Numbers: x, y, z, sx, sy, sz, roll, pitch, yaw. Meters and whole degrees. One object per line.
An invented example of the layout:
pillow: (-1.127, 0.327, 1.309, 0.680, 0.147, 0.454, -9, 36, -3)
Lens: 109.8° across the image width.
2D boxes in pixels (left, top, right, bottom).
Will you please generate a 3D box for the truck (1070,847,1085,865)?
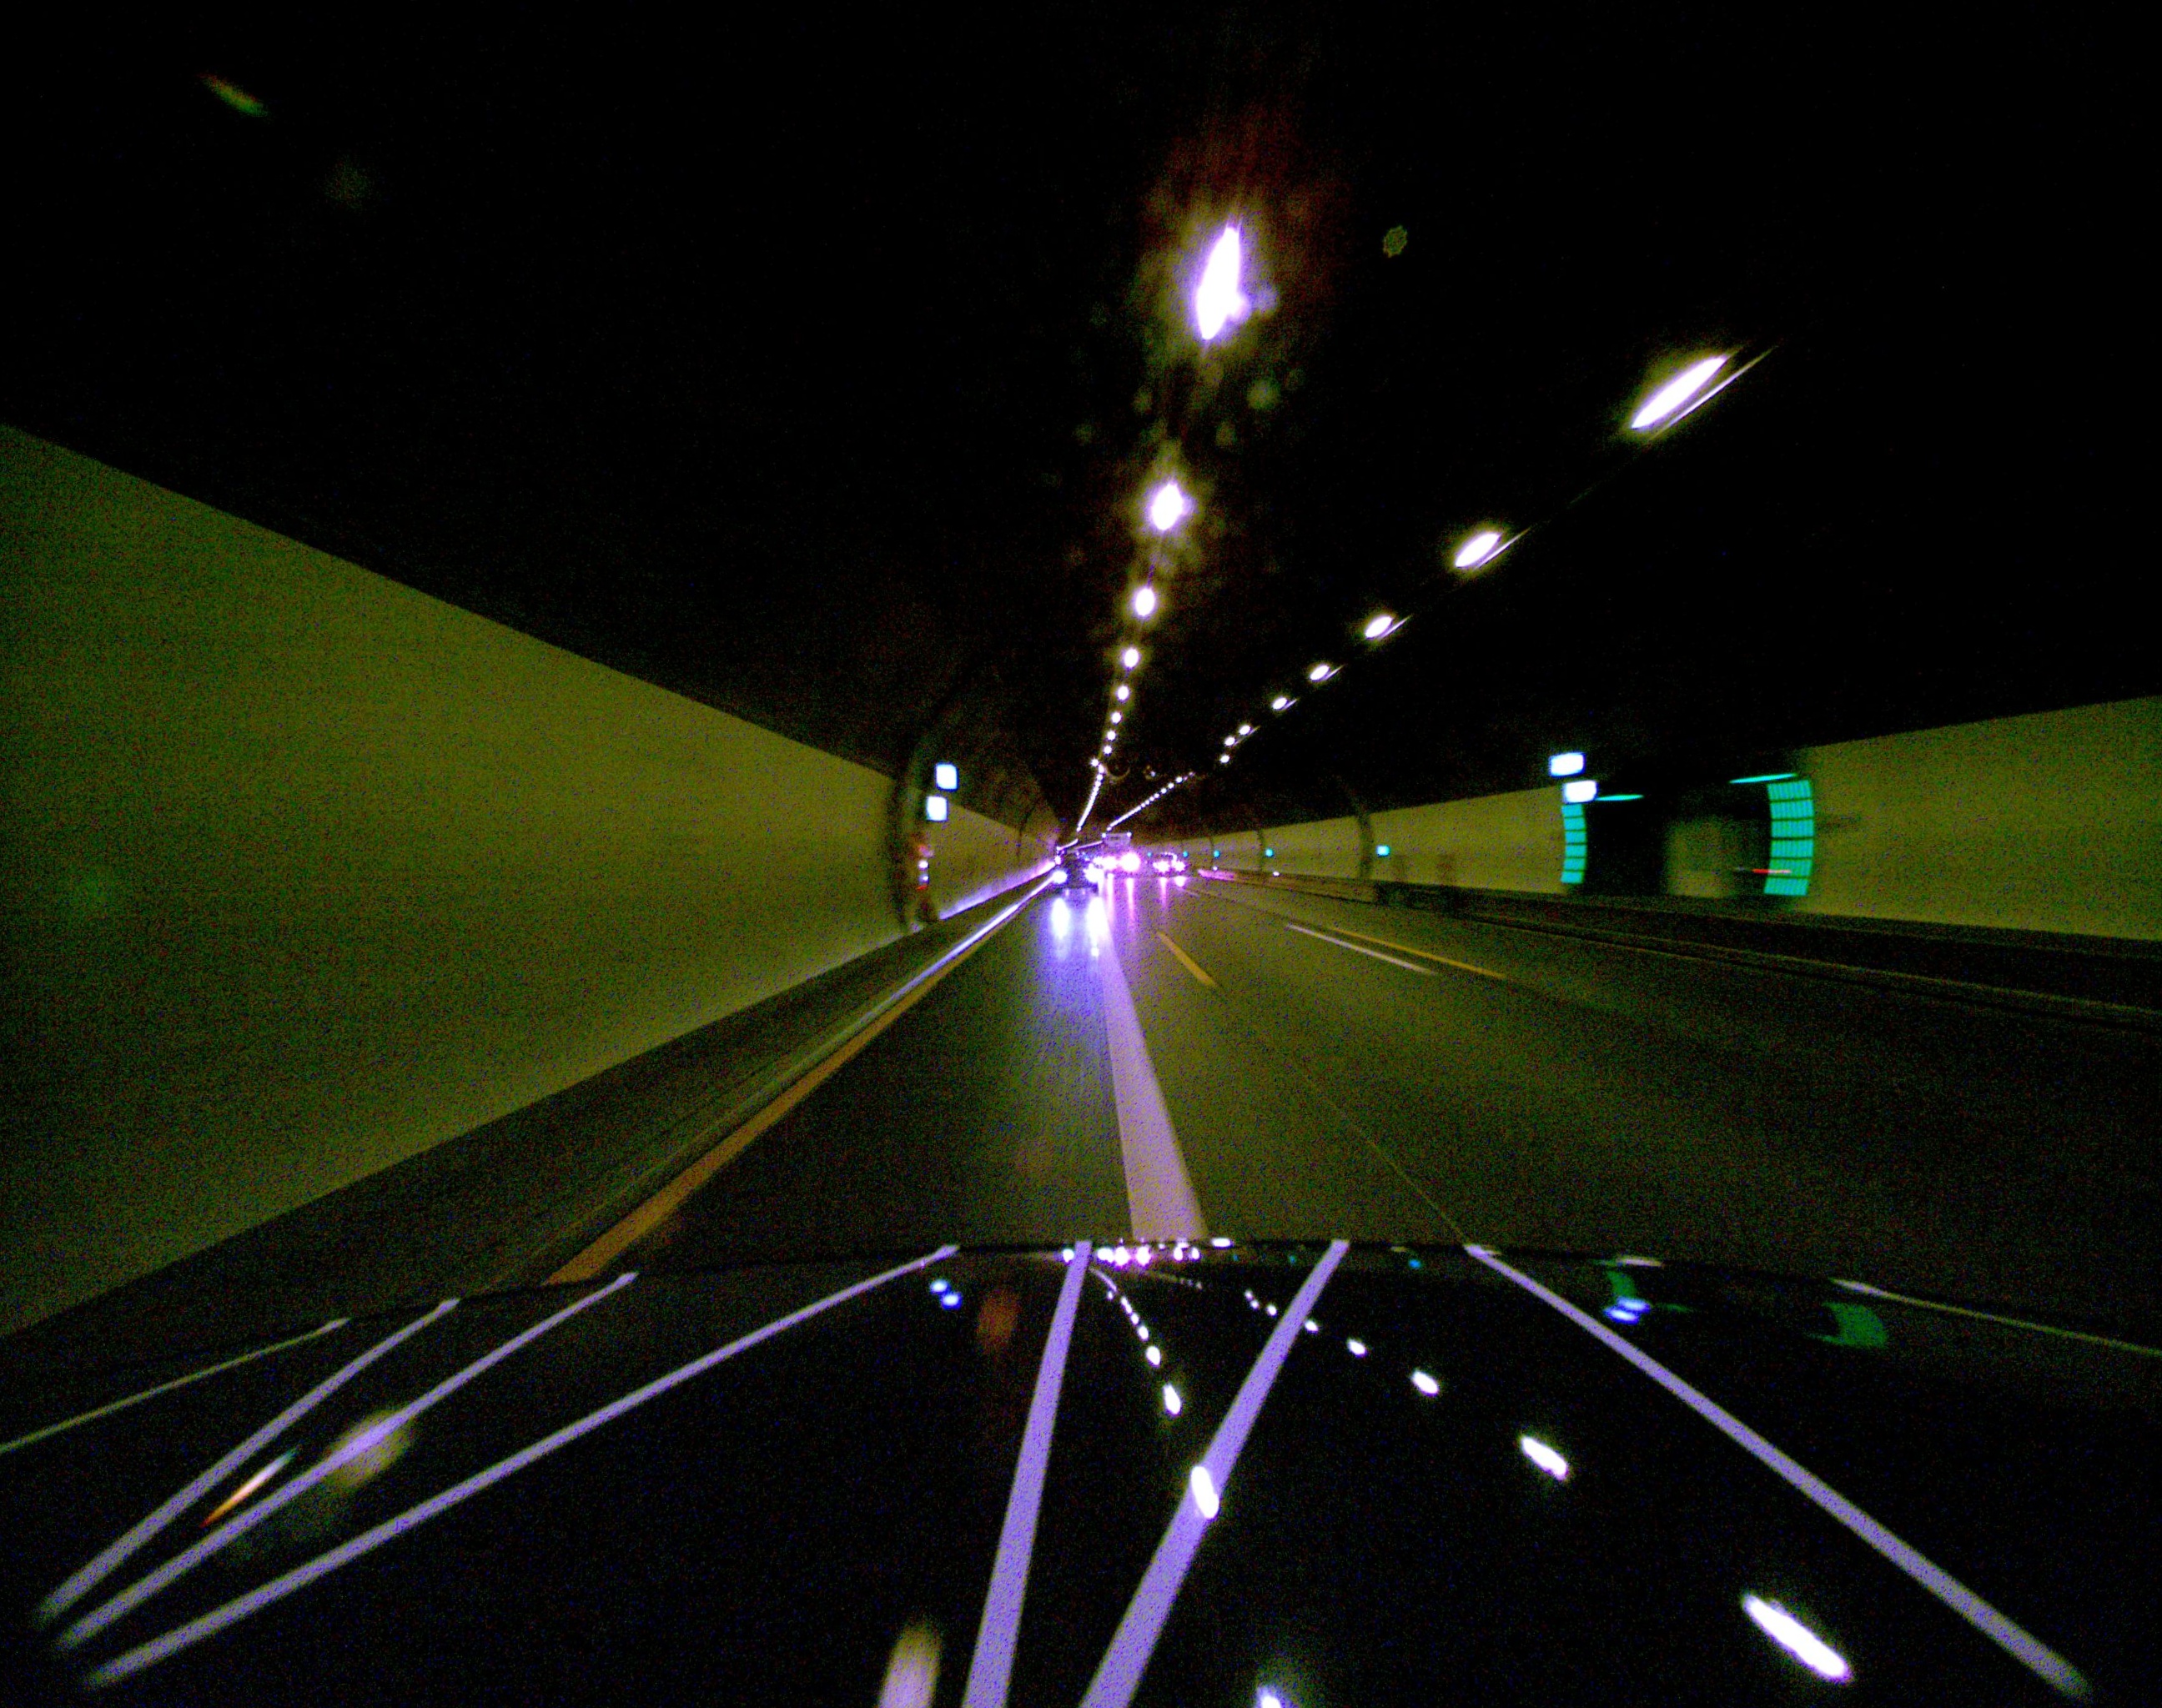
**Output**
truck: (-0.467, 0.361, 121.076, 2.151, 2.609, 9.908, -3, -1, 1)

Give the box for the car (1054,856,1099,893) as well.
car: (-0.134, 0.875, 33.922, 1.727, 1.474, 4.001, -2, 0, 3)

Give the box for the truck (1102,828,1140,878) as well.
truck: (2.887, -0.087, 56.050, 2.374, 3.328, 4.718, -5, 1, 0)

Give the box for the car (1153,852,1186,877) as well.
car: (6.198, 0.694, 53.419, 1.766, 1.563, 4.096, -3, 1, 0)
